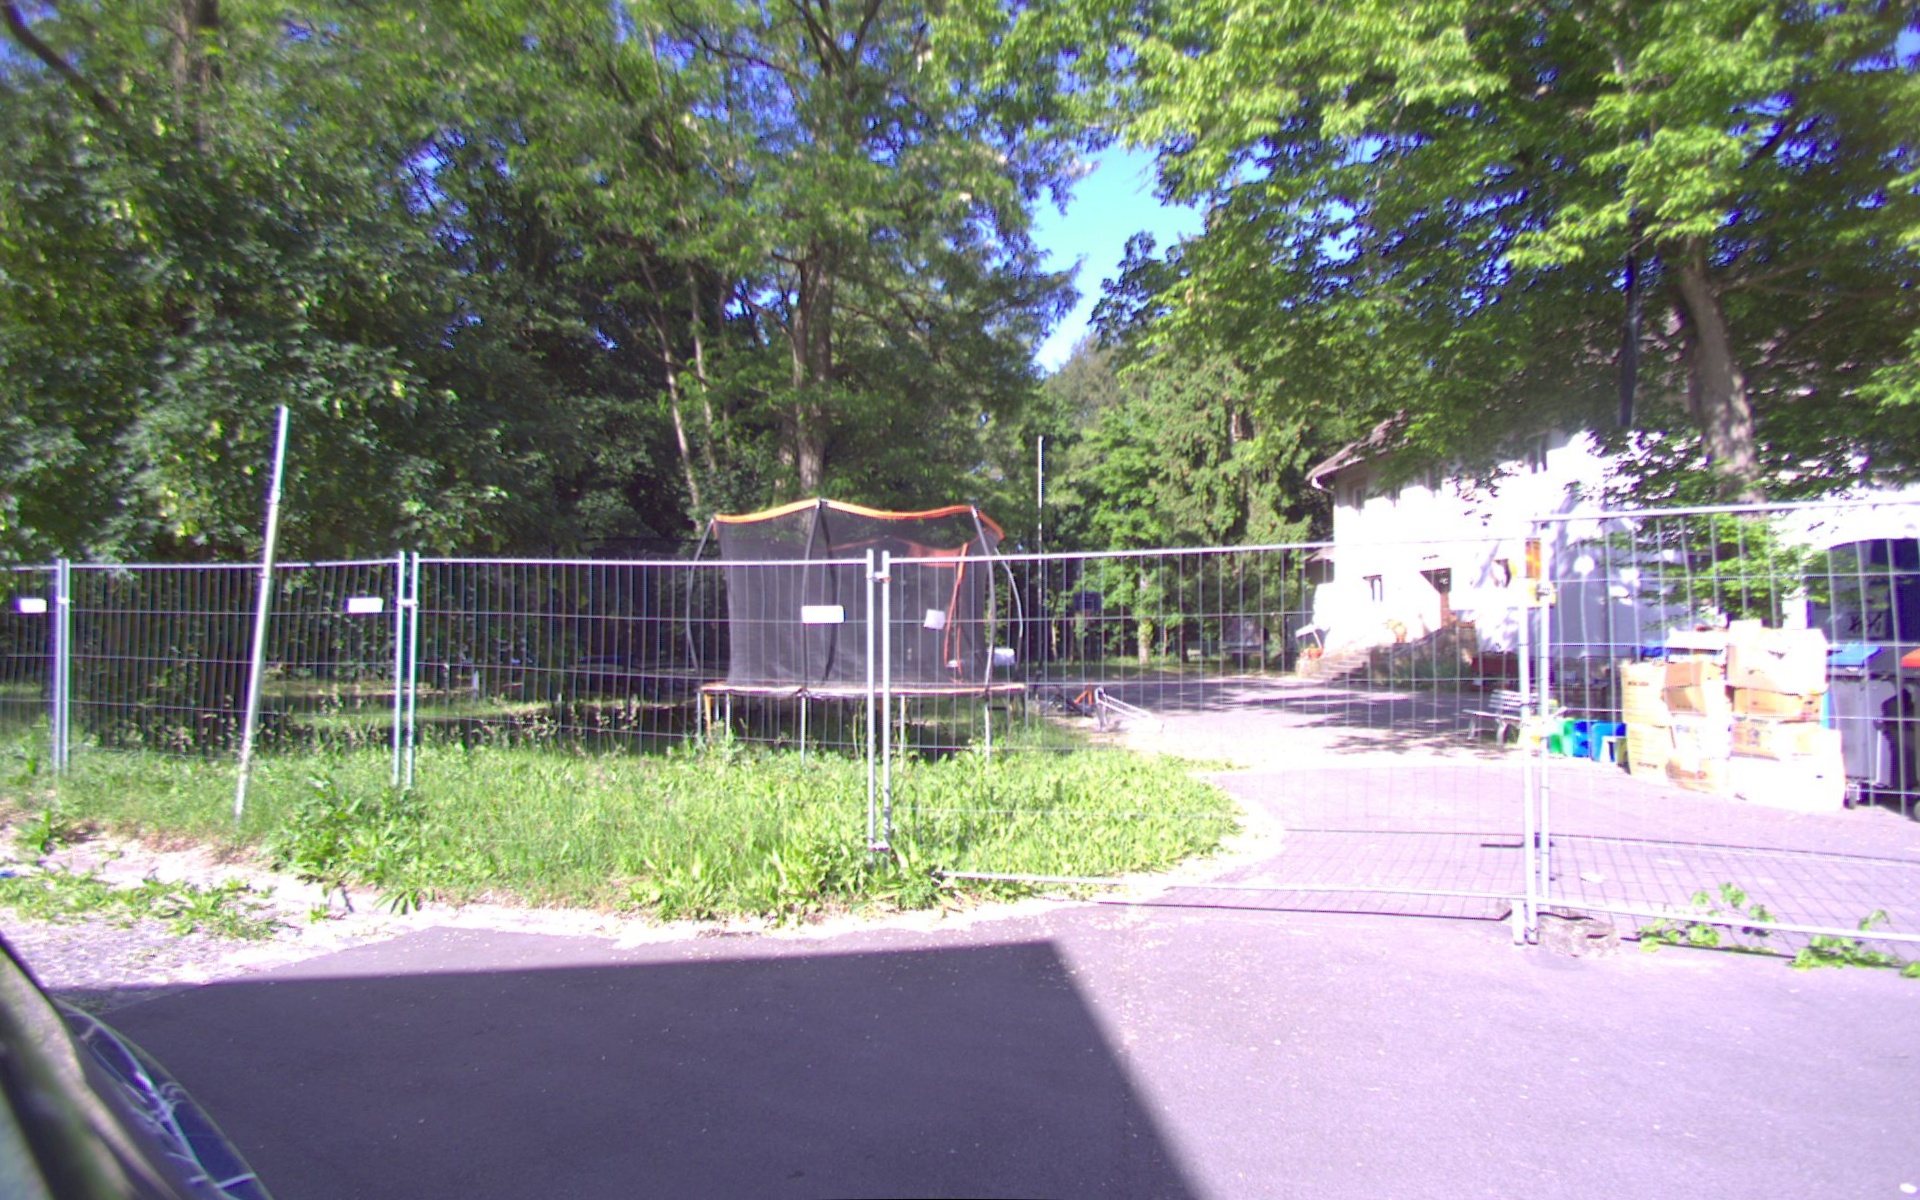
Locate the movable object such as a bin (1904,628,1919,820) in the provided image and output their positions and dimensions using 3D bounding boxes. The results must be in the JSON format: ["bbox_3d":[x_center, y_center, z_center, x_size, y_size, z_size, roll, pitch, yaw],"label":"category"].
[{"bbox_3d":[7.977,0.948,7.382,0.793,1.495,1.345,0,-2,-11],"label":"movable object such as a bin"}]

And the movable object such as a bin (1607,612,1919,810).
[{"bbox_3d":[7.494,0.941,9.430,1.155,1.603,2.301,0,-2,-11],"label":"movable object such as a bin"}]
